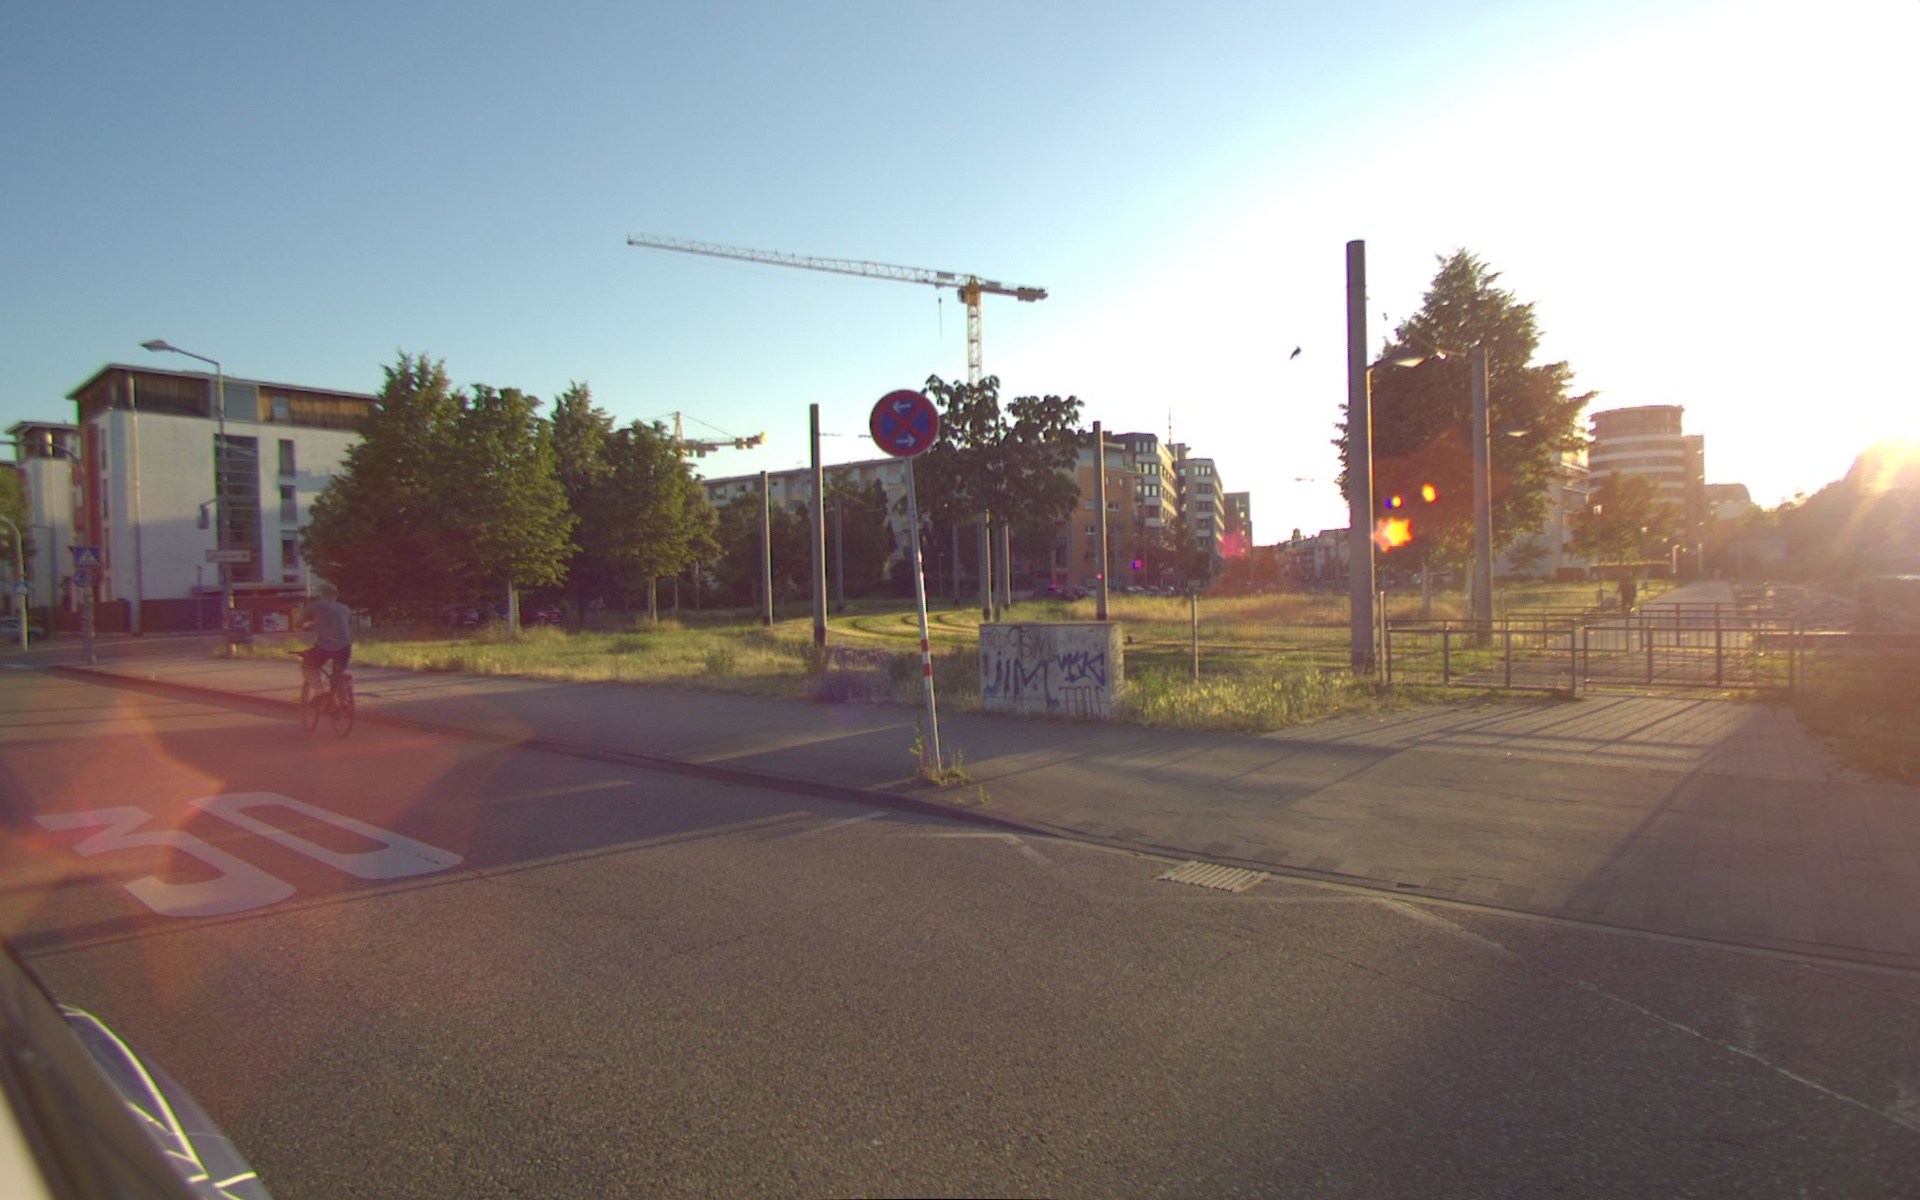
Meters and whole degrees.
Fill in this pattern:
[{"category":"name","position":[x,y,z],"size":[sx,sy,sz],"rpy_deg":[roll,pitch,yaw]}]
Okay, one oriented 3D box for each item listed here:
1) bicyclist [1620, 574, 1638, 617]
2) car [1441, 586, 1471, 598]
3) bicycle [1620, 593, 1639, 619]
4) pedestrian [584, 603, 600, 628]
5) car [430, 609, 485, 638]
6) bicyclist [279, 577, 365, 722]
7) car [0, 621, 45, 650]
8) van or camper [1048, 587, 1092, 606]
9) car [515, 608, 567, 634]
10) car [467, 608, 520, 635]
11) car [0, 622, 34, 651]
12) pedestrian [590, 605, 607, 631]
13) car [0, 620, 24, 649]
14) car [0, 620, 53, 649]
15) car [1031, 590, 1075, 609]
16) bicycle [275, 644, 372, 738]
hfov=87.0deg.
[{"category":"bicyclist","position":[23.783,-0.177,35.968],"size":[0.424,1.506,0.507],"rpy_deg":[-3,-1,40]},{"category":"car","position":[76.866,-1.283,156.936],"size":[3.877,1.625,1.680],"rpy_deg":[-3,-1,40]},{"category":"bicycle","position":[23.769,0.212,35.925],"size":[0.430,0.907,1.220],"rpy_deg":[-3,-1,39]},{"category":"pedestrian","position":[-24.351,1.016,66.946],"size":[0.655,1.611,0.704],"rpy_deg":[-1,2,36]},{"category":"car","position":[-28.654,1.320,57.634],"size":[3.410,1.533,1.667],"rpy_deg":[-1,1,42]},{"category":"bicyclist","position":[-7.758,0.588,12.301],"size":[1.036,1.675,0.608],"rpy_deg":[-3,-1,44]},{"category":"car","position":[-54.258,2.088,56.168],"size":[1.708,1.489,4.857],"rpy_deg":[-2,1,38]},{"category":"van or camper","position":[10.782,-0.324,99.526],"size":[3.877,1.707,1.810],"rpy_deg":[-3,-1,41]},{"category":"car","position":[-25.178,1.239,60.743],"size":[3.410,1.511,1.572],"rpy_deg":[-1,1,42]},{"category":"car","position":[-27.182,1.227,58.927],"size":[3.410,1.511,1.572],"rpy_deg":[-1,1,42]},{"category":"car","position":[-56.263,2.192,57.864],"size":[1.711,1.566,4.721],"rpy_deg":[-2,2,43]},{"category":"pedestrian","position":[-23.756,1.200,66.540],"size":[0.623,1.679,0.734],"rpy_deg":[-1,2,37]},{"category":"car","position":[-58.212,2.168,59.273],"size":[1.755,1.597,4.705],"rpy_deg":[-2,1,36]},{"category":"car","position":[-52.083,1.931,54.753],"size":[1.678,1.468,4.240],"rpy_deg":[-2,0,38]},{"category":"car","position":[8.954,-0.068,97.550],"size":[3.873,1.707,1.682],"rpy_deg":[-2,-1,37]},{"category":"bicycle","position":[-7.840,1.079,12.424],"size":[1.925,1.051,0.532],"rpy_deg":[-3,-1,44]}]
